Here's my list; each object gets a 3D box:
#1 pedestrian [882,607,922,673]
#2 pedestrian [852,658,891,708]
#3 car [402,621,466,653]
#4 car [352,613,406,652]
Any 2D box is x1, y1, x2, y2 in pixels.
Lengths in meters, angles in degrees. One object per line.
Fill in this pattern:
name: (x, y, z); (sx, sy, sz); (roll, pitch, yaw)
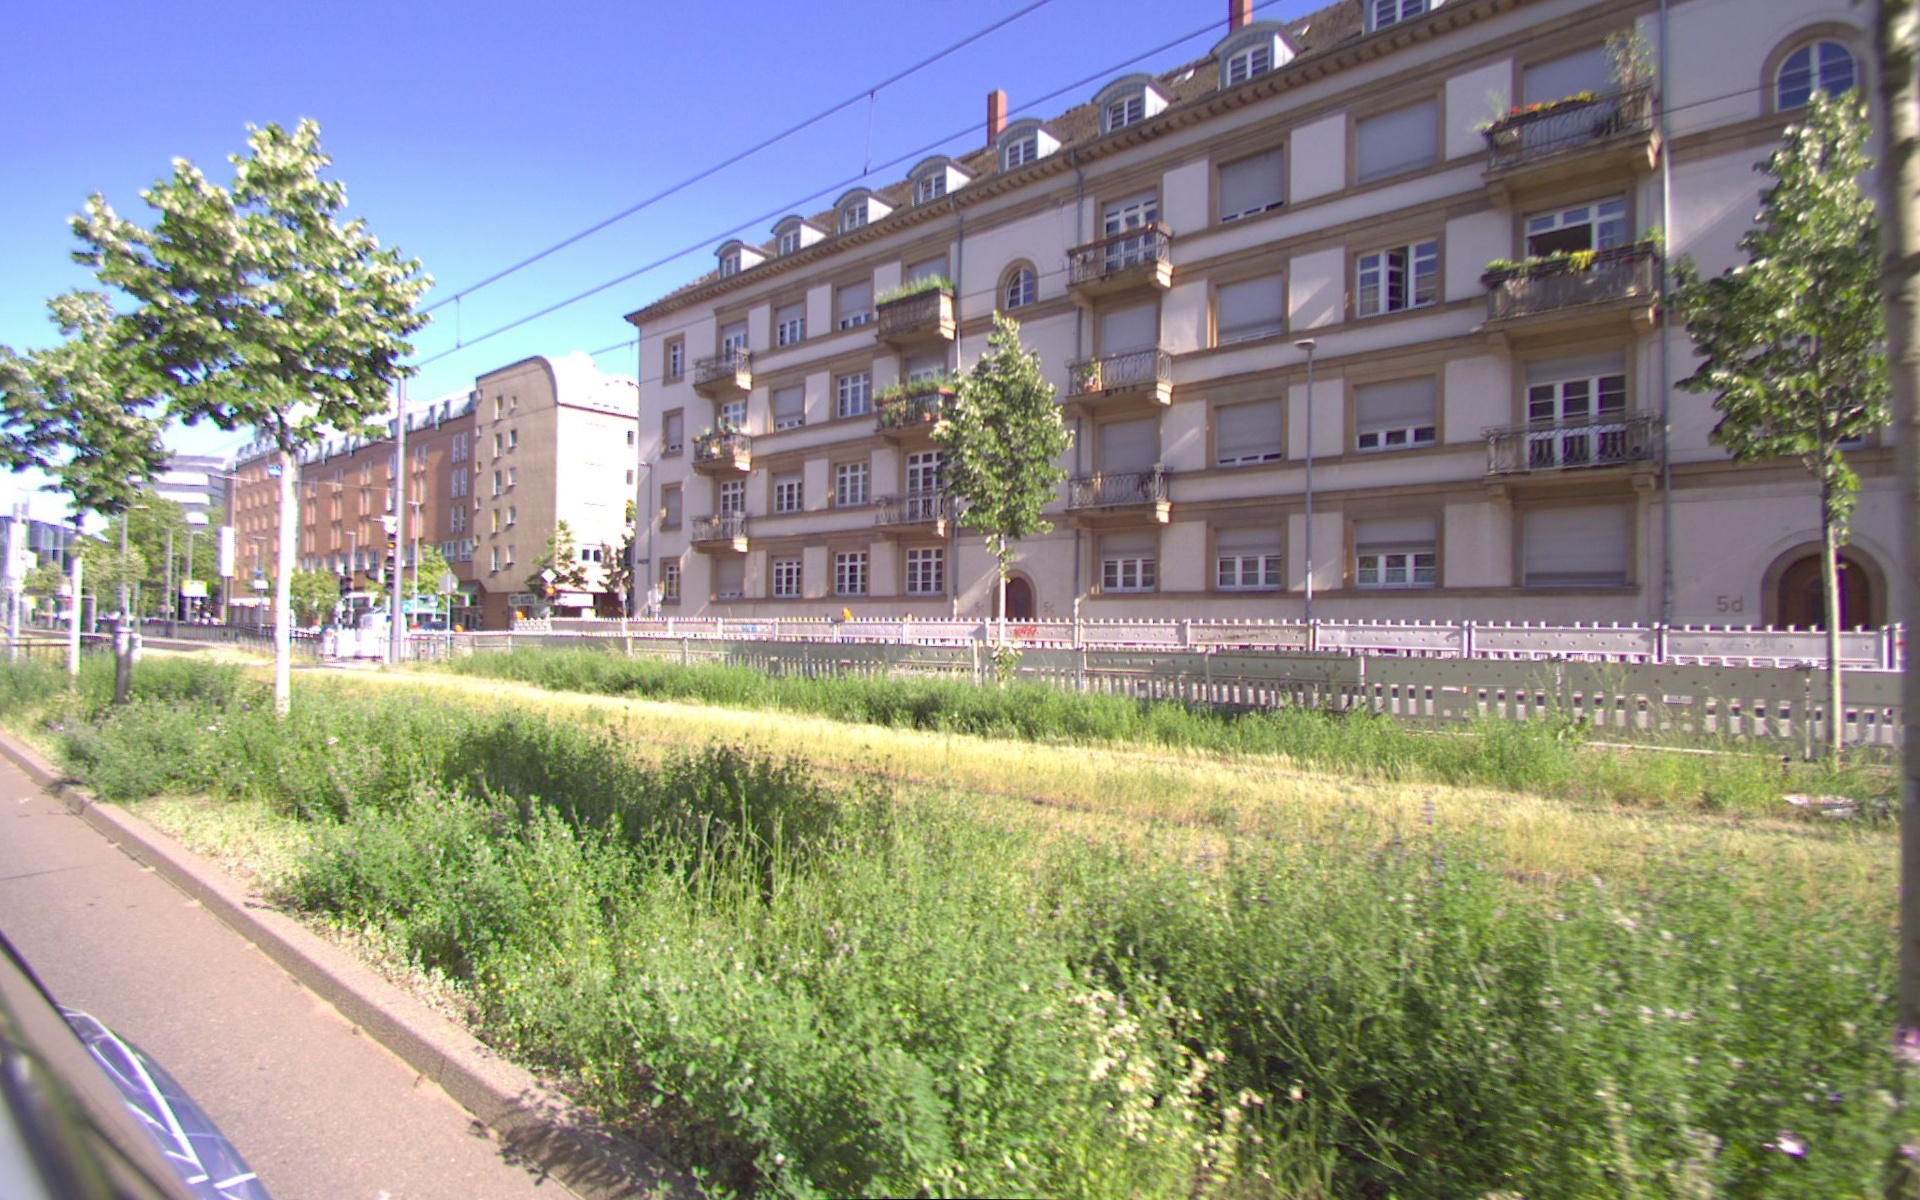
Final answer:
pedestrian: (-1.684, 1.154, 29.429); (0.871, 1.877, 0.758); (0, -1, 41)
pedestrian: (-2.888, 2.700, 33.148); (1.020, 1.529, 0.778); (0, 0, 41)
car: (-29.163, 2.011, 56.069); (3.996, 1.652, 1.677); (0, 0, 39)
car: (-36.836, 2.036, 64.076); (1.969, 2.314, 5.197); (1, 0, -41)
